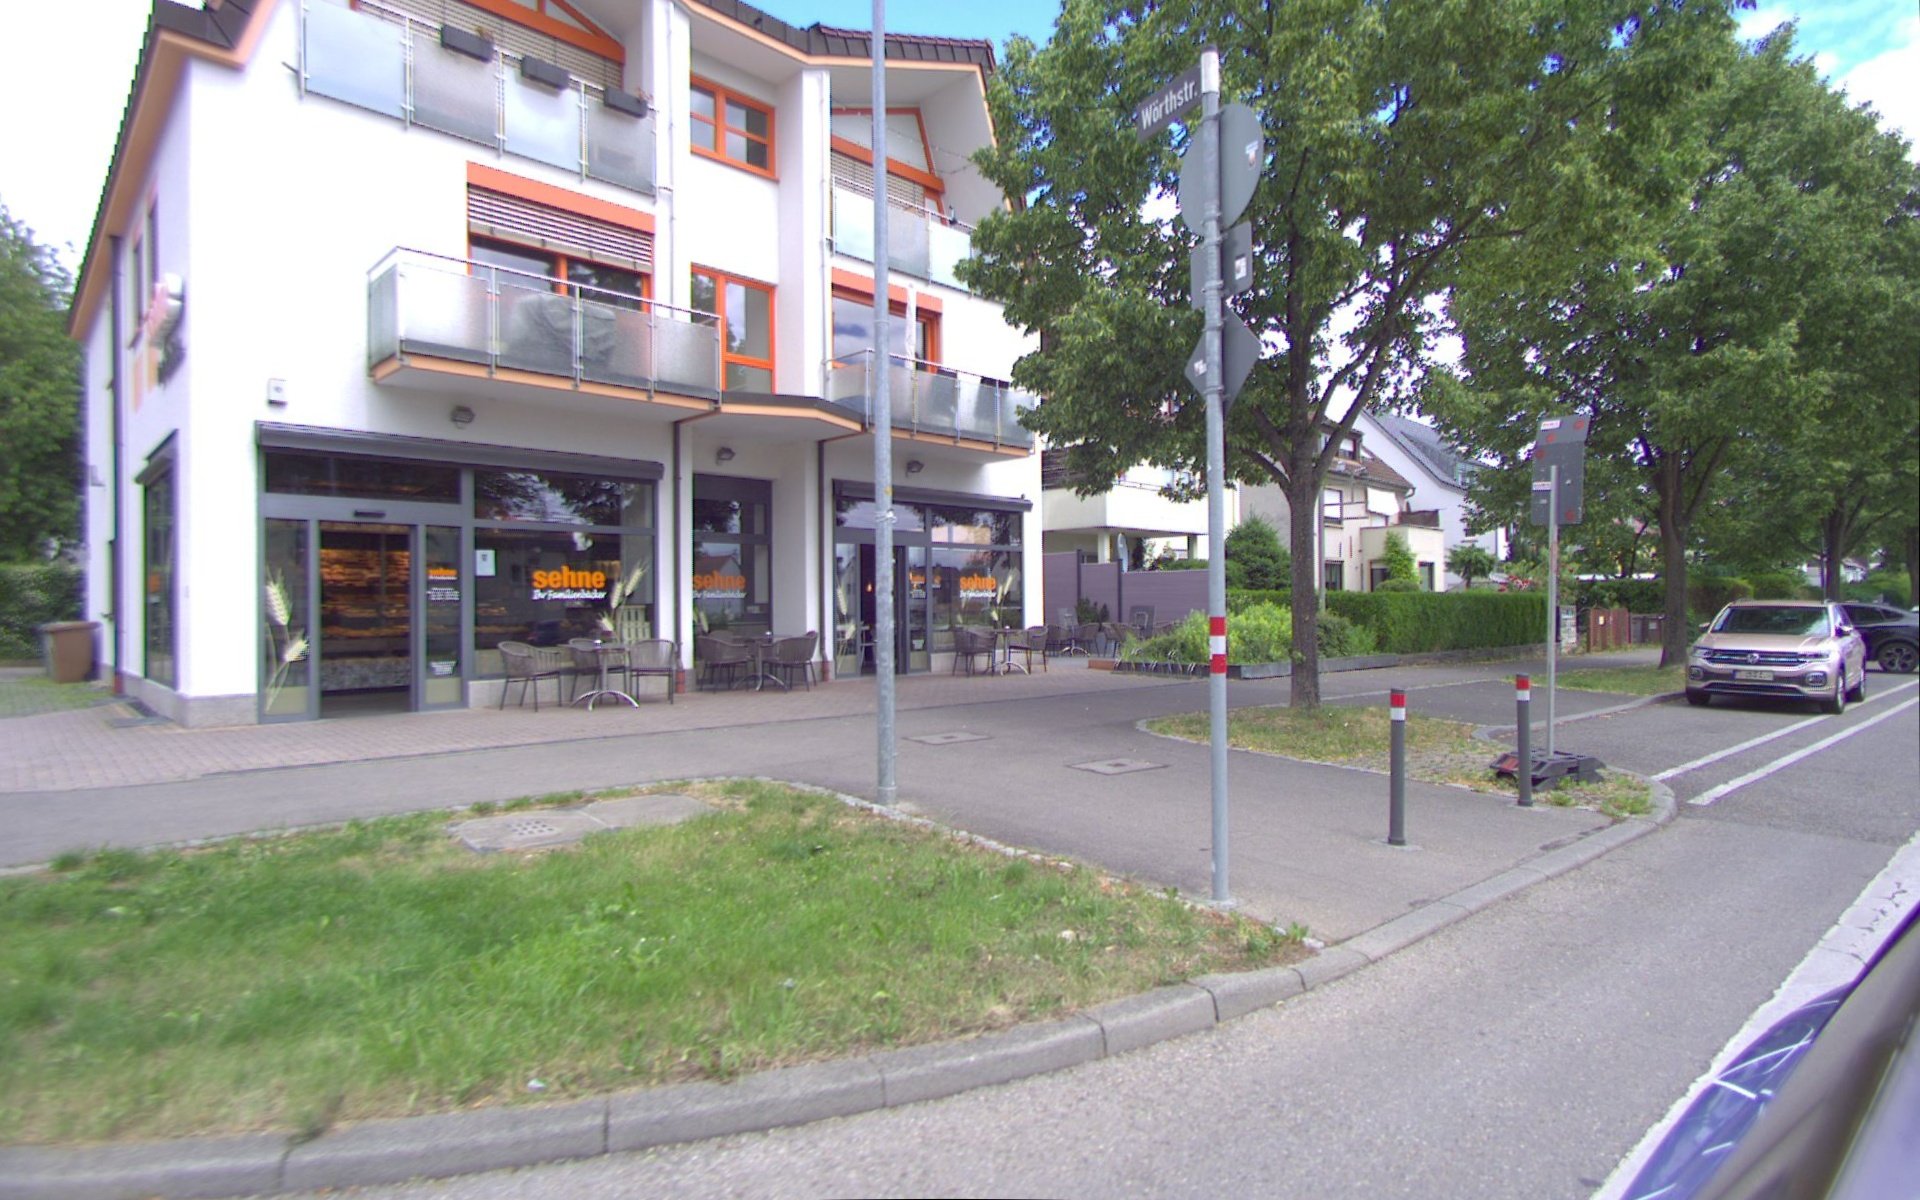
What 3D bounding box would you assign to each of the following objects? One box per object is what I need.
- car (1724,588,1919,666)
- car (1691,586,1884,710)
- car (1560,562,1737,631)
[{"bbox_3d":[20.477,0.574,23.471,4.218,1.658,1.666,1,1,45],"label":"car"},{"bbox_3d":[12.439,0.625,15.128,3.992,1.600,1.723,0,0,-43],"label":"car"},{"bbox_3d":[27.895,-0.103,41.196,1.965,2.625,5.716,2,-1,-44],"label":"car"}]
